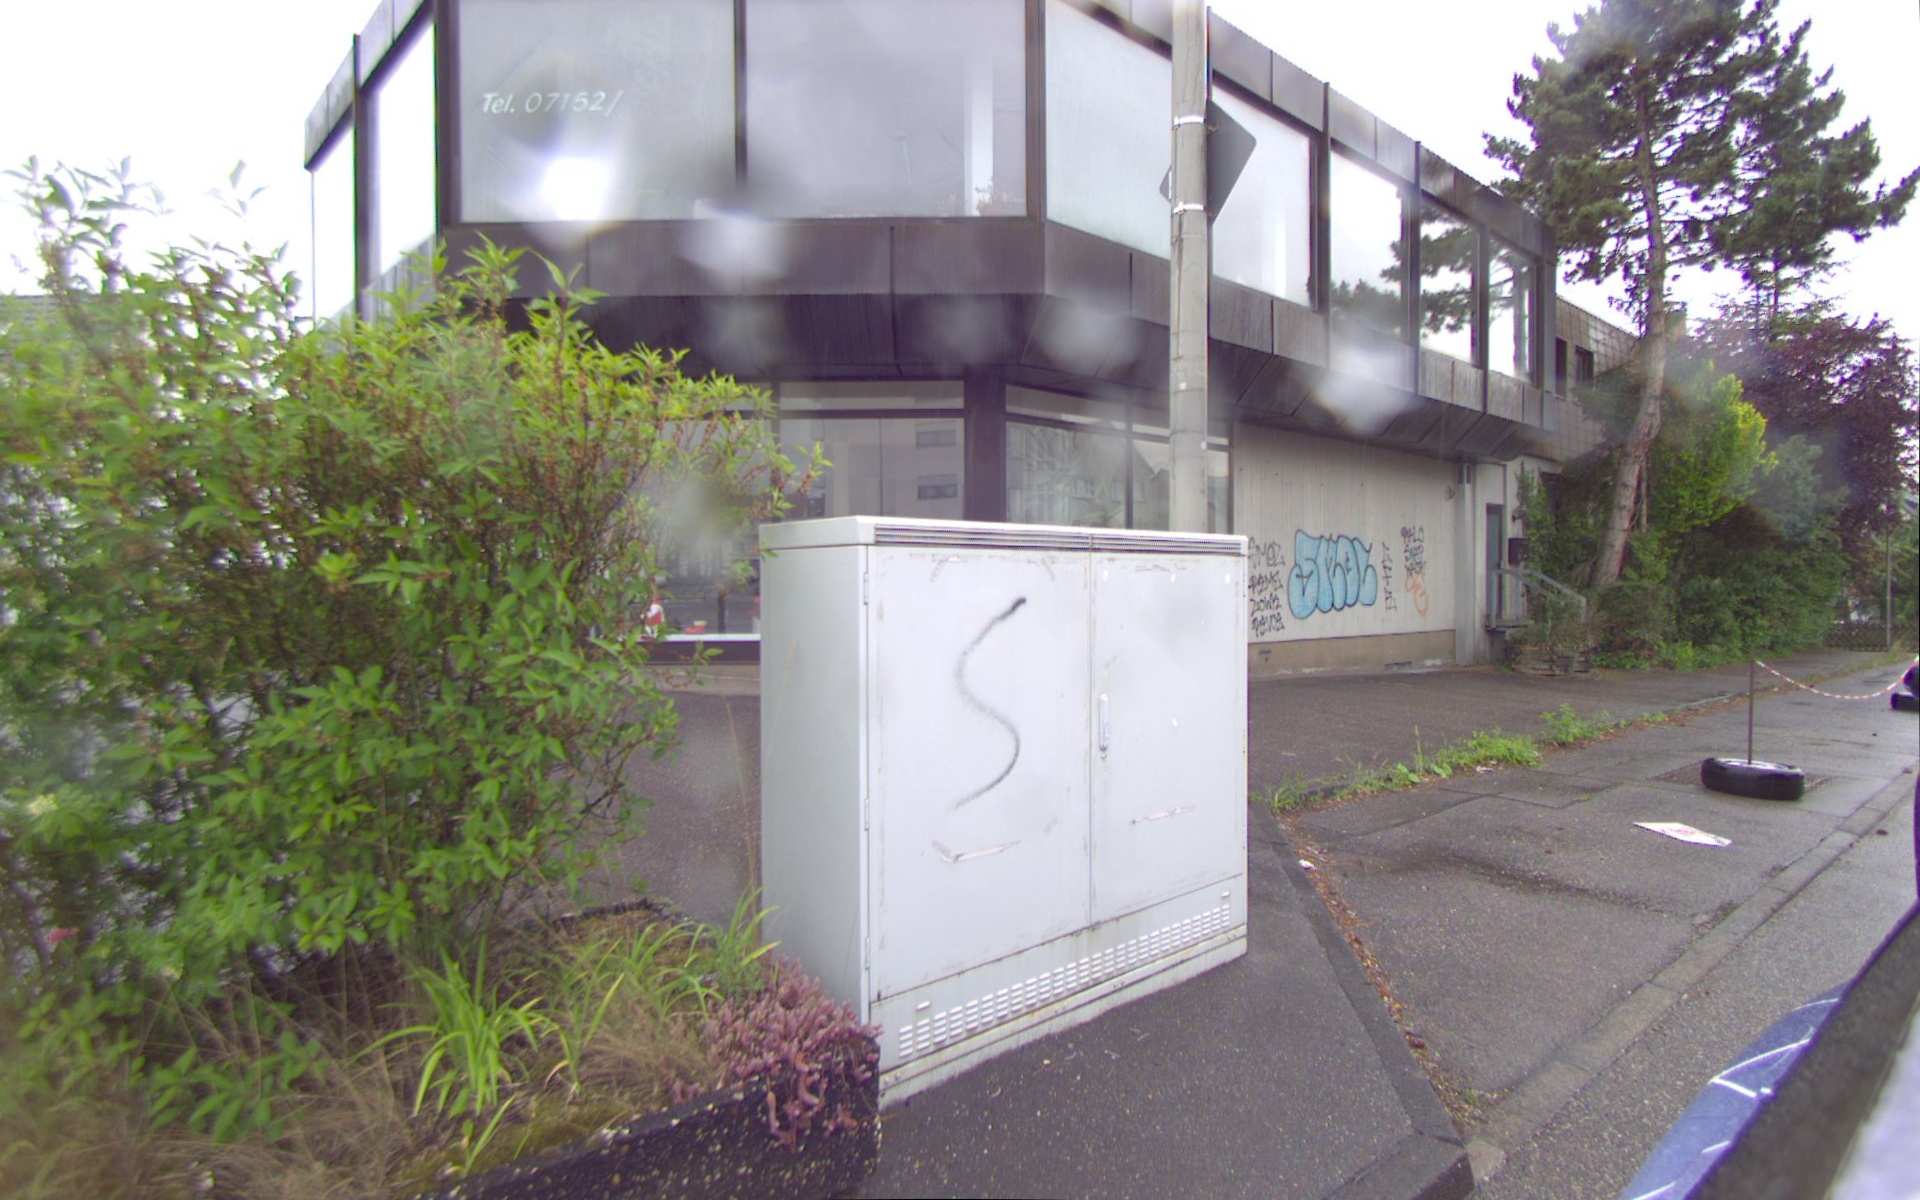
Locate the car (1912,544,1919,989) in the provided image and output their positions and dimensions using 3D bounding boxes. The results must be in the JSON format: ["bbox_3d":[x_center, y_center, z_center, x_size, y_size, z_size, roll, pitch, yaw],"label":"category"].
[{"bbox_3d":[5.657,0.581,4.397,4.595,1.562,1.753,-1,1,-41],"label":"car"}]
